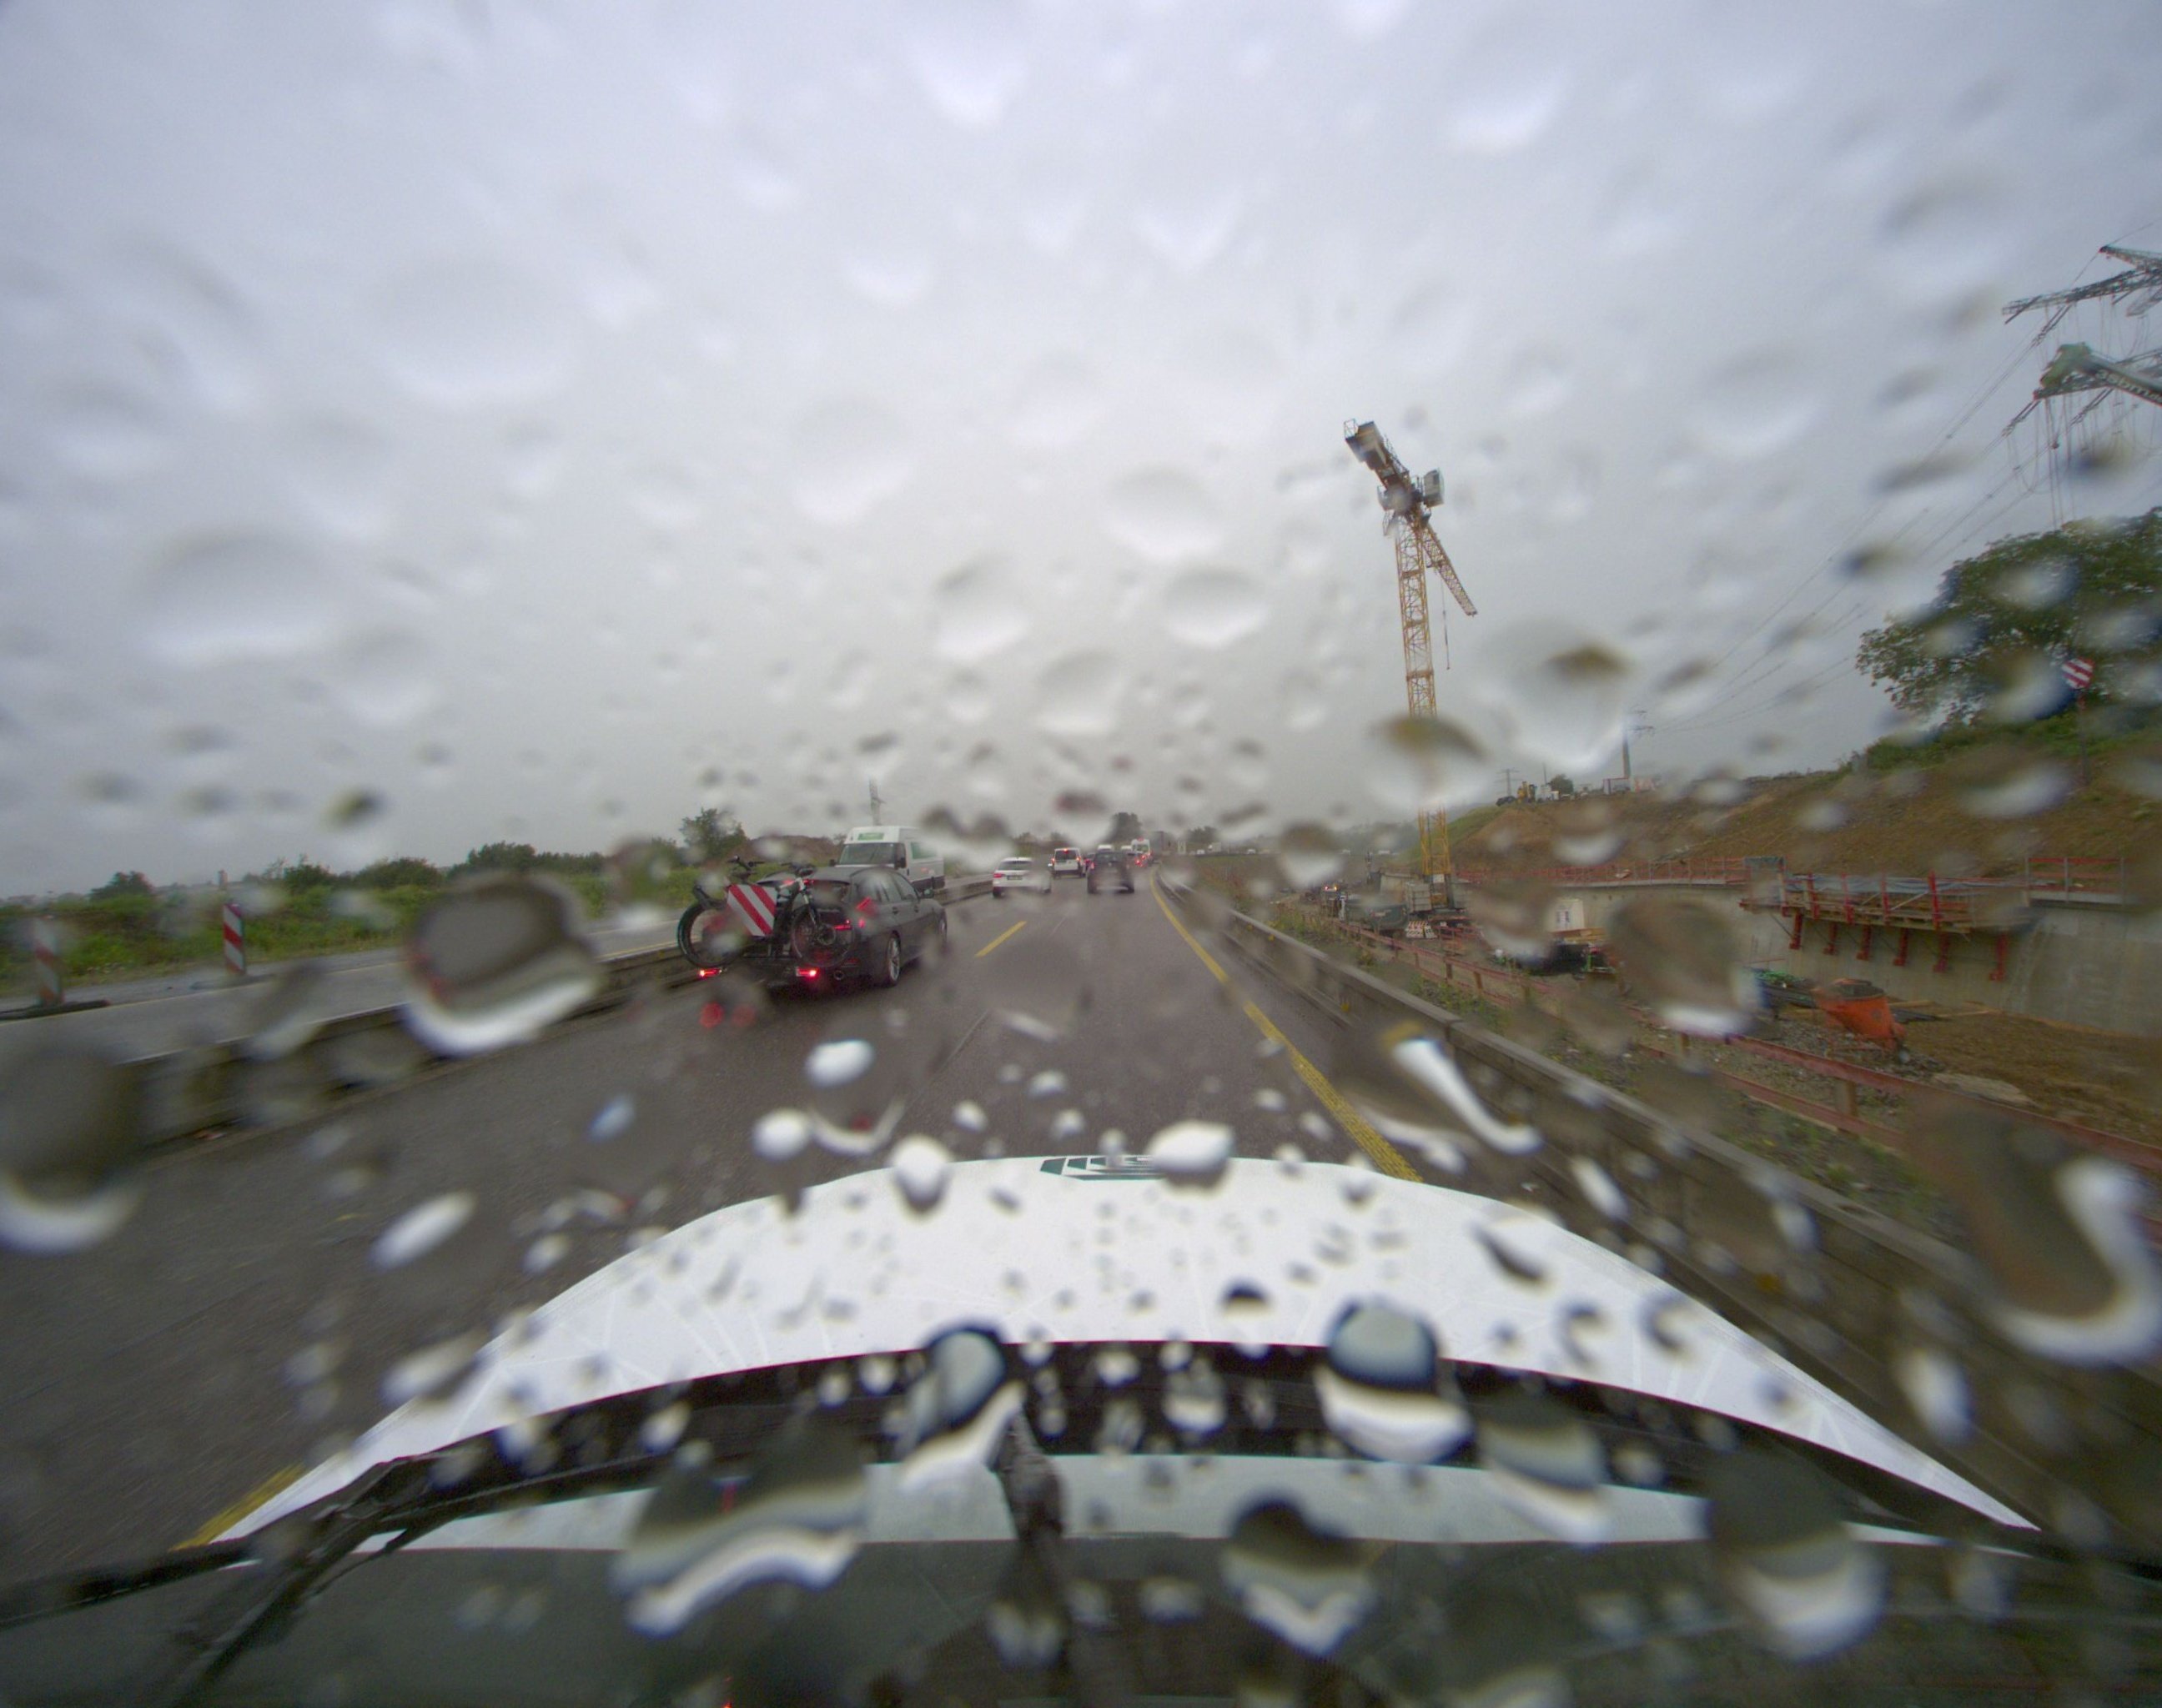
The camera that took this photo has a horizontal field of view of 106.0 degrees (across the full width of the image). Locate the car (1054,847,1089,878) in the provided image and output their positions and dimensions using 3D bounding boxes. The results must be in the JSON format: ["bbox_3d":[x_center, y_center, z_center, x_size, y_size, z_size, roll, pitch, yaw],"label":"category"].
[{"bbox_3d":[-0.530,0.530,49.933,1.818,1.815,4.003,-1,-1,3],"label":"car"}]

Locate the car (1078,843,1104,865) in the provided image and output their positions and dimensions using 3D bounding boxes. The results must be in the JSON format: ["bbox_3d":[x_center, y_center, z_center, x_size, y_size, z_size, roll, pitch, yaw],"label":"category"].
[{"bbox_3d":[0.863,0.045,69.431,1.817,1.815,4.007,-1,-1,7],"label":"car"}]

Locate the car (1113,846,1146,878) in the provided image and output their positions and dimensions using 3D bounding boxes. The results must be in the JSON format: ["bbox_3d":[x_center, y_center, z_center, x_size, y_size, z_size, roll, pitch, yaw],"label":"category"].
[{"bbox_3d":[2.991,0.489,49.868,1.817,1.815,4.006,-1,-1,6],"label":"car"}]

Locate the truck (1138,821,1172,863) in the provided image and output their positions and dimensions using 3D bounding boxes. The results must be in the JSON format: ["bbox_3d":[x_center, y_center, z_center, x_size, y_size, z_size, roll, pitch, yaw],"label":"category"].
[{"bbox_3d":[9.652,-1.428,104.952,3.522,5.077,10.470,-1,-1,10],"label":"truck"}]

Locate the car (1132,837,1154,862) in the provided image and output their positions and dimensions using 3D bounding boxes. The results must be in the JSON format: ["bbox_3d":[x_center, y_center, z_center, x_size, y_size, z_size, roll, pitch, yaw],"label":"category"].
[{"bbox_3d":[6.423,-0.450,83.621,1.815,2.437,4.169,-1,-1,10],"label":"car"}]

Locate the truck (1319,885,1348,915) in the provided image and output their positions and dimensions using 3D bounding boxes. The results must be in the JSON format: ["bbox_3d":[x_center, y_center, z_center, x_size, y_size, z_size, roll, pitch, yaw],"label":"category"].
[{"bbox_3d":[33.000,5.988,106.576,2.712,3.491,9.094,-1,-1,12],"label":"truck"}]

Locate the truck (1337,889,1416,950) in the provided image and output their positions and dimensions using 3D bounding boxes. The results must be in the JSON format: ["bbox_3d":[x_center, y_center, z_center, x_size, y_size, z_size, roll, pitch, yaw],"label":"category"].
[{"bbox_3d":[19.777,4.280,55.128,2.687,3.503,8.957,-1,-1,4],"label":"truck"}]

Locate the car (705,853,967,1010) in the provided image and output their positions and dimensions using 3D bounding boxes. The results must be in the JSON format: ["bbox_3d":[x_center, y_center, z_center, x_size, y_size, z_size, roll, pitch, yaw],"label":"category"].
[{"bbox_3d":[-2.955,0.810,11.321,1.728,1.462,5.632,-1,1,2],"label":"car"}]

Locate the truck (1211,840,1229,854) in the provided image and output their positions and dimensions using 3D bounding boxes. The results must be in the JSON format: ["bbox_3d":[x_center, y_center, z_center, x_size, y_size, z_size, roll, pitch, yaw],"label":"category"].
[{"bbox_3d":[38.460,-1.939,225.744,3.443,3.715,8.459,-2,0,19],"label":"truck"}]

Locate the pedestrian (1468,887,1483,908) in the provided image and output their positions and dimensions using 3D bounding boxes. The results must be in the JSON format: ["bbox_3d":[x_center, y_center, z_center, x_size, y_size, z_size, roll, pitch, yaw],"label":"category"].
[{"bbox_3d":[40.681,4.513,83.984,0.897,1.999,0.901,9,0,11],"label":"pedestrian"}]

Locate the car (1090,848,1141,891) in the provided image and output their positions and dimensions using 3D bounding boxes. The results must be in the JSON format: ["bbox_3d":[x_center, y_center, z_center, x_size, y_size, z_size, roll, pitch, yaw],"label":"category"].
[{"bbox_3d":[1.439,0.608,32.599,1.817,1.591,4.005,-1,-1,5],"label":"car"}]

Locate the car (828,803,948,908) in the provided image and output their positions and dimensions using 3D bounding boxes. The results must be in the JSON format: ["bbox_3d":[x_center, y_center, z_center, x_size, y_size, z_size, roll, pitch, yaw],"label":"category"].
[{"bbox_3d":[-6.197,0.038,27.221,1.986,3.045,7.175,-1,0,2],"label":"car"}]

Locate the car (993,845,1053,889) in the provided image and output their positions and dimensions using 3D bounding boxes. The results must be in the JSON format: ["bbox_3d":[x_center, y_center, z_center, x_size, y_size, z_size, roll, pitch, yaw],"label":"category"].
[{"bbox_3d":[-2.055,0.465,30.042,1.819,1.499,4.001,-1,-1,1],"label":"car"}]

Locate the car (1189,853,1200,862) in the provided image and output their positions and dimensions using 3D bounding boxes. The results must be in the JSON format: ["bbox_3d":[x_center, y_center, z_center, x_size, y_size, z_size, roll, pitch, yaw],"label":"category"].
[{"bbox_3d":[28.304,0.799,203.341,2.019,2.256,4.175,-1,-1,16],"label":"car"}]

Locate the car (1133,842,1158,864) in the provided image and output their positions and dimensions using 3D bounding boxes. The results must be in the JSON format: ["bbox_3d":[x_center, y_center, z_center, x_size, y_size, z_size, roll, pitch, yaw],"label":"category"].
[{"bbox_3d":[5.517,-0.042,69.405,1.815,1.815,4.010,-1,-1,9],"label":"car"}]

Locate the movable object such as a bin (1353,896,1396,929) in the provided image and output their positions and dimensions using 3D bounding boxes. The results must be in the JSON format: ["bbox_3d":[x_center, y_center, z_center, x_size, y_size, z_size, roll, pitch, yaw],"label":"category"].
[{"bbox_3d":[26.821,5.333,74.575,3.133,2.738,2.974,-1,-1,7],"label":"movable object such as a bin"}]
